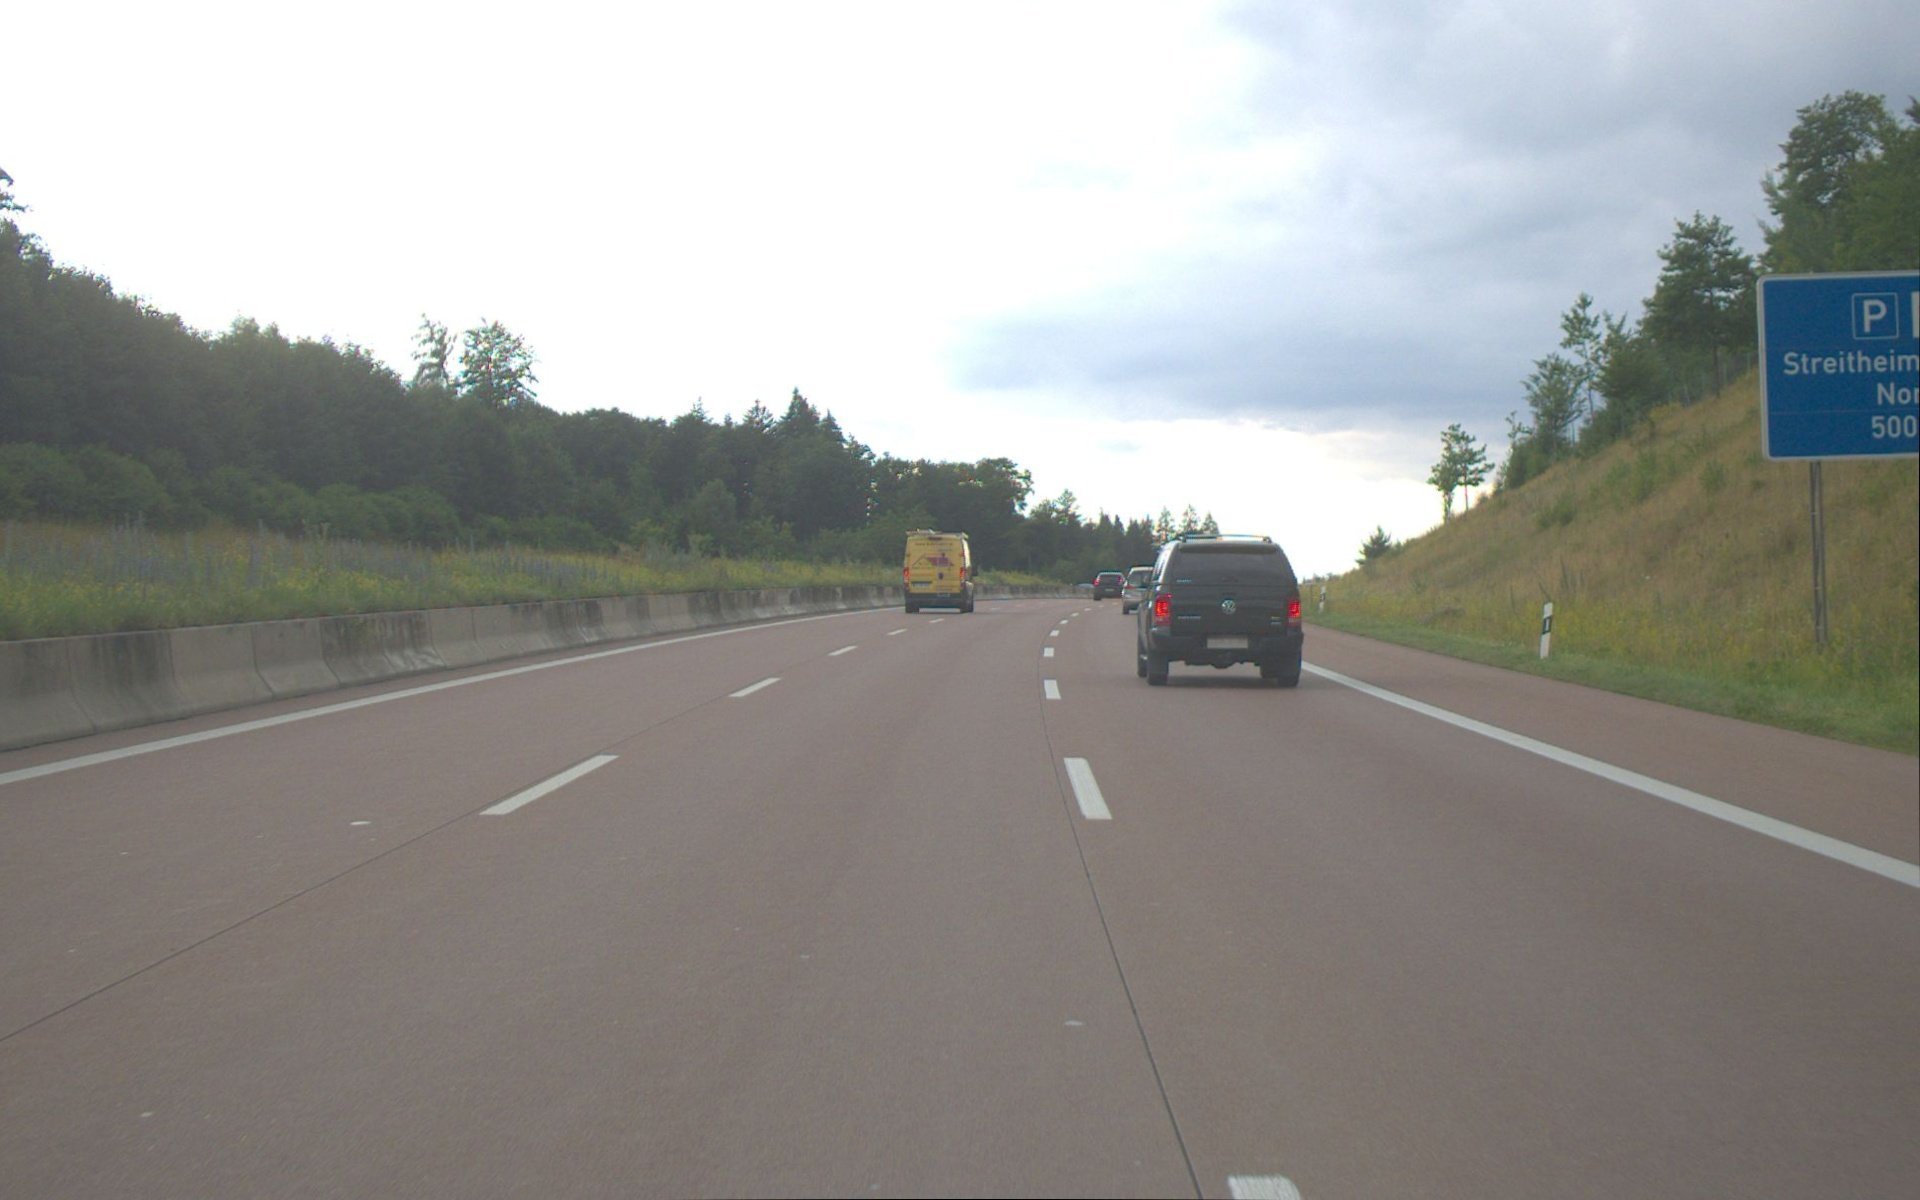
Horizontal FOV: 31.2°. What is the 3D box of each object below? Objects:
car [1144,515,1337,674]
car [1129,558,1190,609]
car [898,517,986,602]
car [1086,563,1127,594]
[{"bbox_3d":[3.496,-0.051,43.818,2.044,1.890,5.577,0,0,0],"label":"car"},{"bbox_3d":[6.638,-0.546,114.656,1.978,1.642,4.618,1,0,3],"label":"car"},{"bbox_3d":[-0.554,-1.309,113.755,2.459,2.697,5.612,0,0,4],"label":"car"},{"bbox_3d":[8.497,-1.218,199.107,1.888,1.758,4.996,0,0,8],"label":"car"}]
